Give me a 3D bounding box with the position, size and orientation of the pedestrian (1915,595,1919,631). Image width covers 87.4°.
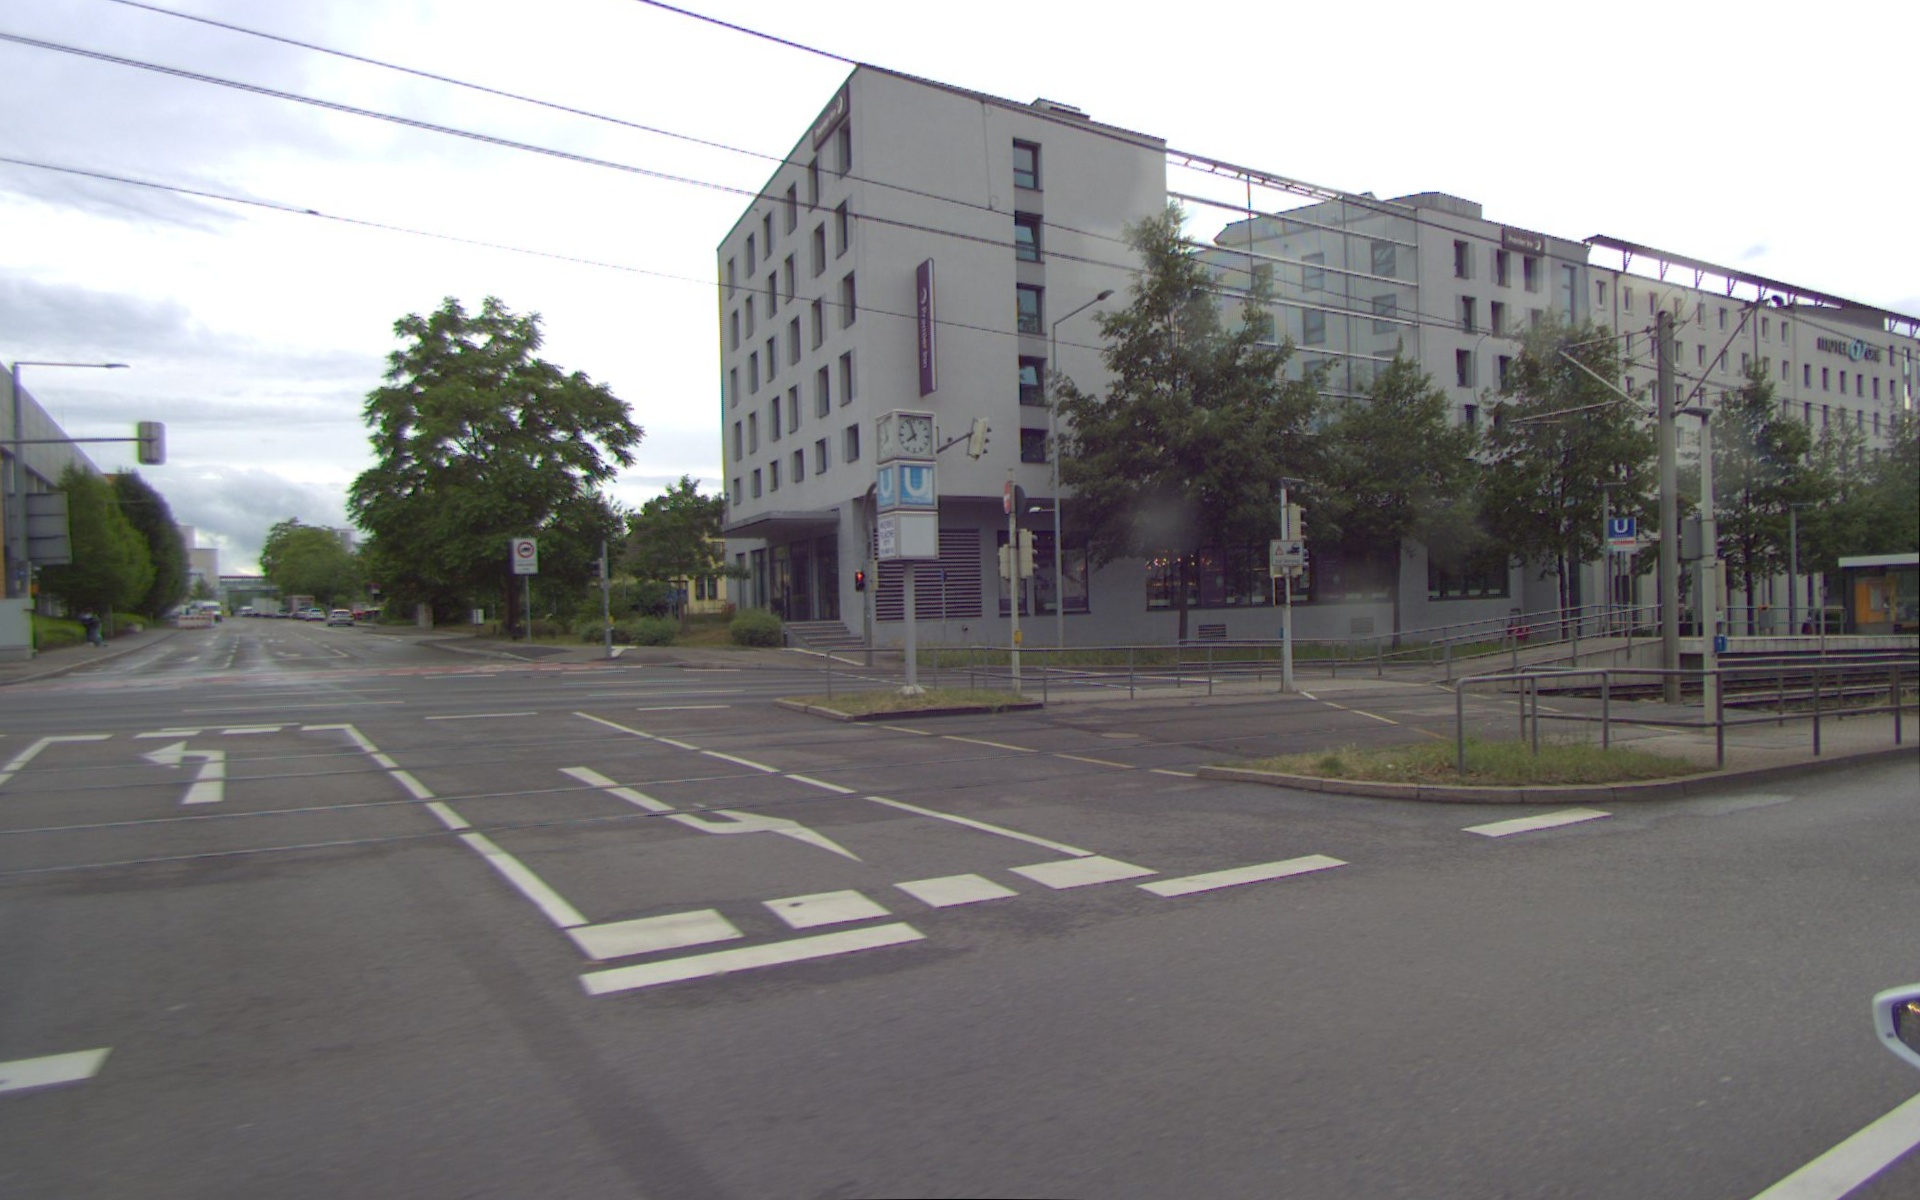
[{"bbox_3d":[35.973,0.481,37.027,0.676,1.317,0.957,0,-1,-28],"label":"pedestrian"}]

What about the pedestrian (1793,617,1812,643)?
[{"bbox_3d":[53.837,1.905,64.180,0.824,1.599,0.598,1,1,-27],"label":"pedestrian"}]

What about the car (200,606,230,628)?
[{"bbox_3d":[-74.493,1.725,100.487,2.217,2.040,3.961,1,0,-34],"label":"car"}]

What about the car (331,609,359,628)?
[{"bbox_3d":[-53.330,1.615,87.056,1.856,1.617,3.936,0,-1,-35],"label":"car"}]

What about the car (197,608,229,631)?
[{"bbox_3d":[-70.985,1.832,95.484,2.217,2.040,3.961,1,0,-34],"label":"car"}]

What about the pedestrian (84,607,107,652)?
[{"bbox_3d":[-39.760,1.336,46.211,0.772,2.057,0.875,0,0,-40],"label":"pedestrian"}]
